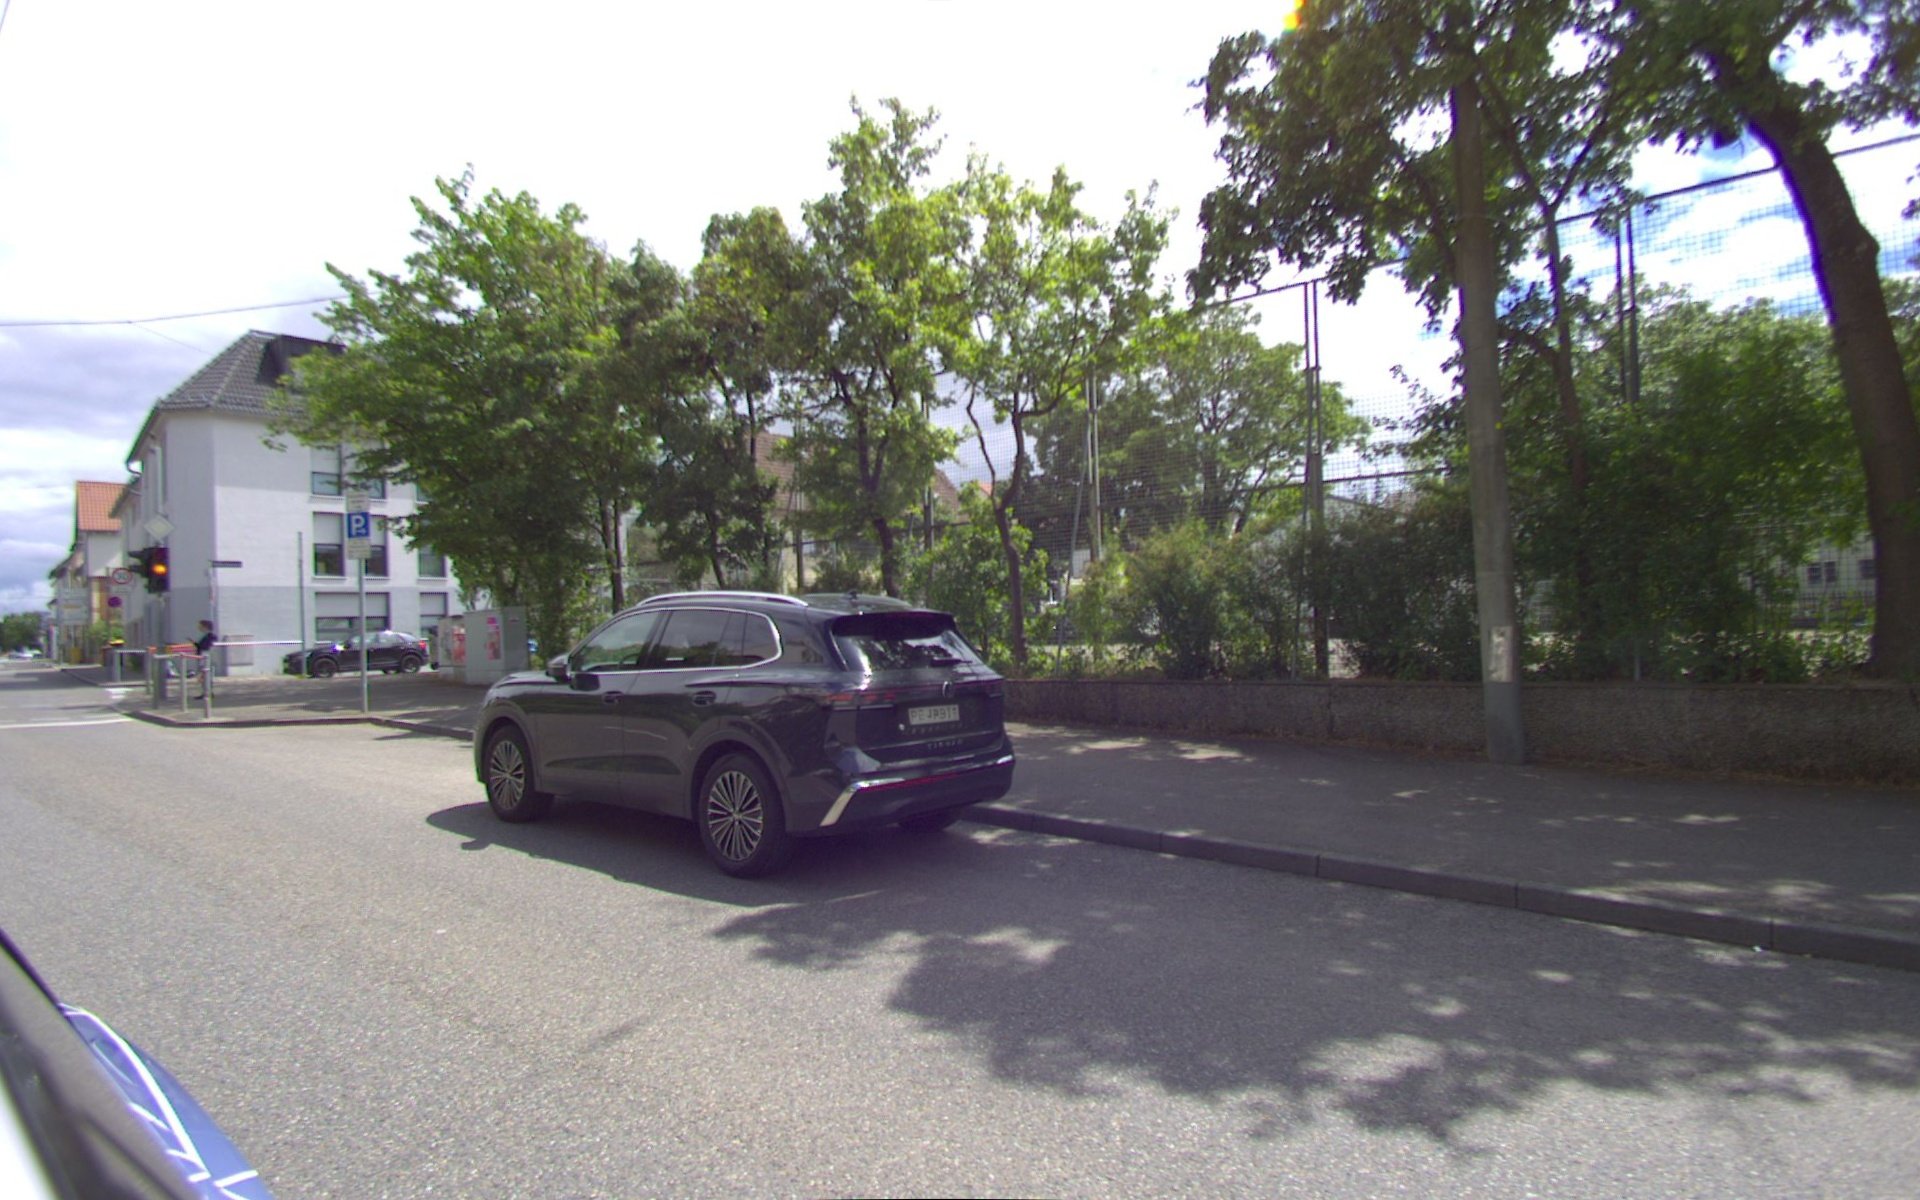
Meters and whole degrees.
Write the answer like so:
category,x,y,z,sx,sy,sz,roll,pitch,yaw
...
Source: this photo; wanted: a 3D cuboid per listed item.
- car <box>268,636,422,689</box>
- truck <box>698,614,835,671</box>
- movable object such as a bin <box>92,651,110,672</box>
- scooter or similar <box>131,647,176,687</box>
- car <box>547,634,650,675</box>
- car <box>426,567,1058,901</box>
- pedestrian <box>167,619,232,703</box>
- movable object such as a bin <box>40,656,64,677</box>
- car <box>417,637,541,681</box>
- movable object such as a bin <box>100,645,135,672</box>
category,x,y,z,sx,sy,sz,roll,pitch,yaw
car,-20.148,2.020,33.254,1.857,1.488,3.946,-6,-4,40
truck,-7.434,1.604,39.241,2.143,2.050,4.984,-2,-2,40
movable object such as a bin,-46.413,3.309,54.681,0.660,1.083,0.633,-3,-2,43
scooter or similar,-26.097,2.162,32.744,1.296,1.271,0.488,-2,-2,16
car,-14.365,2.156,40.335,1.549,1.484,3.564,-7,-5,39
car,-1.767,0.747,7.085,4.639,1.622,1.778,-3,-2,39
pedestrian,-15.172,1.199,20.201,0.663,1.609,0.772,-2,-1,5
movable object such as a bin,-59.753,4.365,66.612,0.800,1.168,0.760,5,17,33
car,-17.404,2.122,36.716,1.601,1.411,3.741,-6,-4,42
movable object such as a bin,-46.883,3.252,56.325,1.170,1.457,1.320,-3,-2,41
